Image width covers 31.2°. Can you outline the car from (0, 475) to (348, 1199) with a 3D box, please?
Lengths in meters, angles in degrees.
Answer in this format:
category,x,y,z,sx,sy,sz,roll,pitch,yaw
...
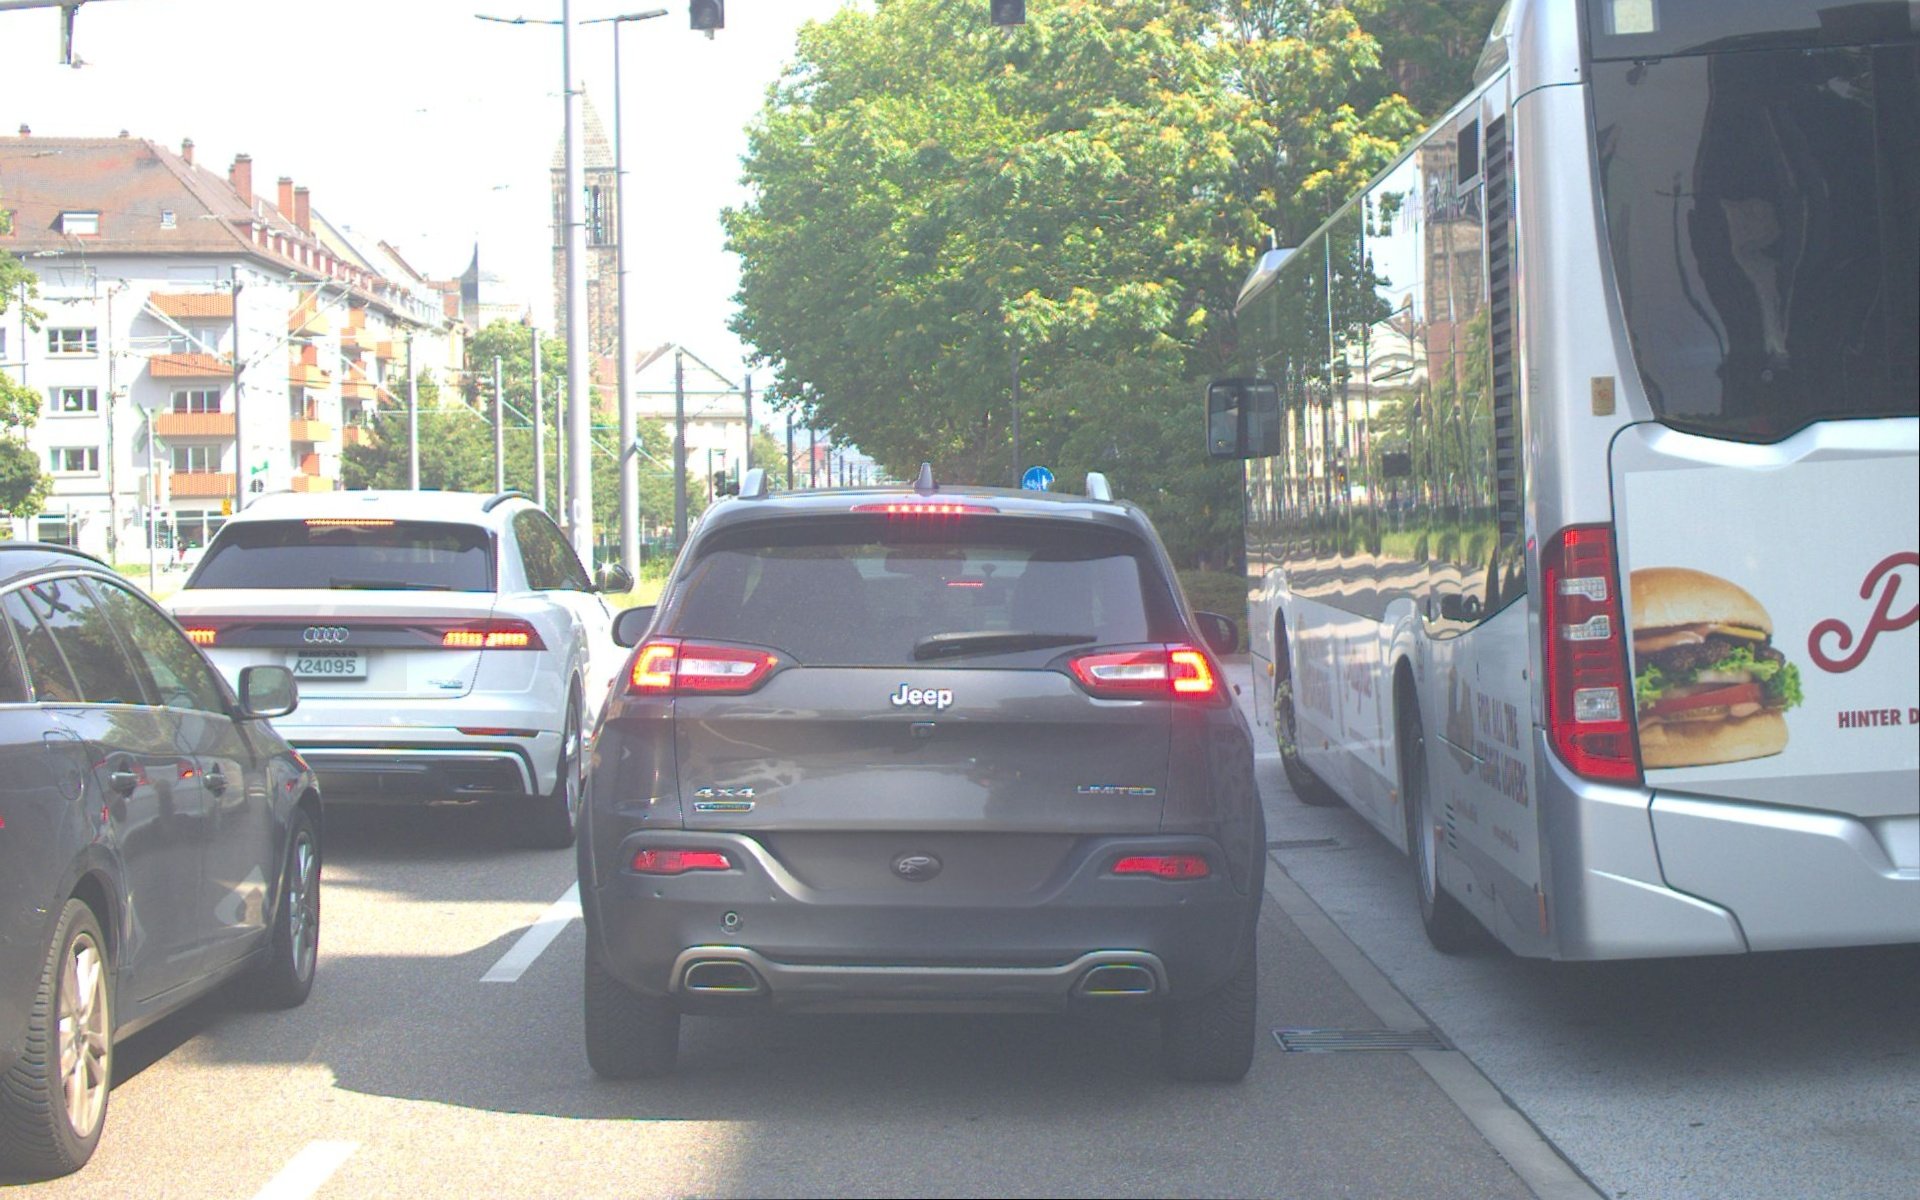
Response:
category,x,y,z,sx,sy,sz,roll,pitch,yaw
car,-2.875,0.492,9.227,1.747,1.609,4.309,0,1,-1

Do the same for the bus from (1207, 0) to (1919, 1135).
category,x,y,z,sx,sy,sz,roll,pitch,yaw
bus,2.852,-0.393,14.627,2.743,3.096,11.956,-3,1,1

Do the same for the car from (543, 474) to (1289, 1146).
category,x,y,z,sx,sy,sz,roll,pitch,yaw
car,-0.101,0.469,10.654,1.832,1.646,4.308,1,1,0

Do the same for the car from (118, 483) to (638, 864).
category,x,y,z,sx,sy,sz,roll,pitch,yaw
car,-2.721,0.264,17.036,1.902,1.646,4.309,0,1,-1
